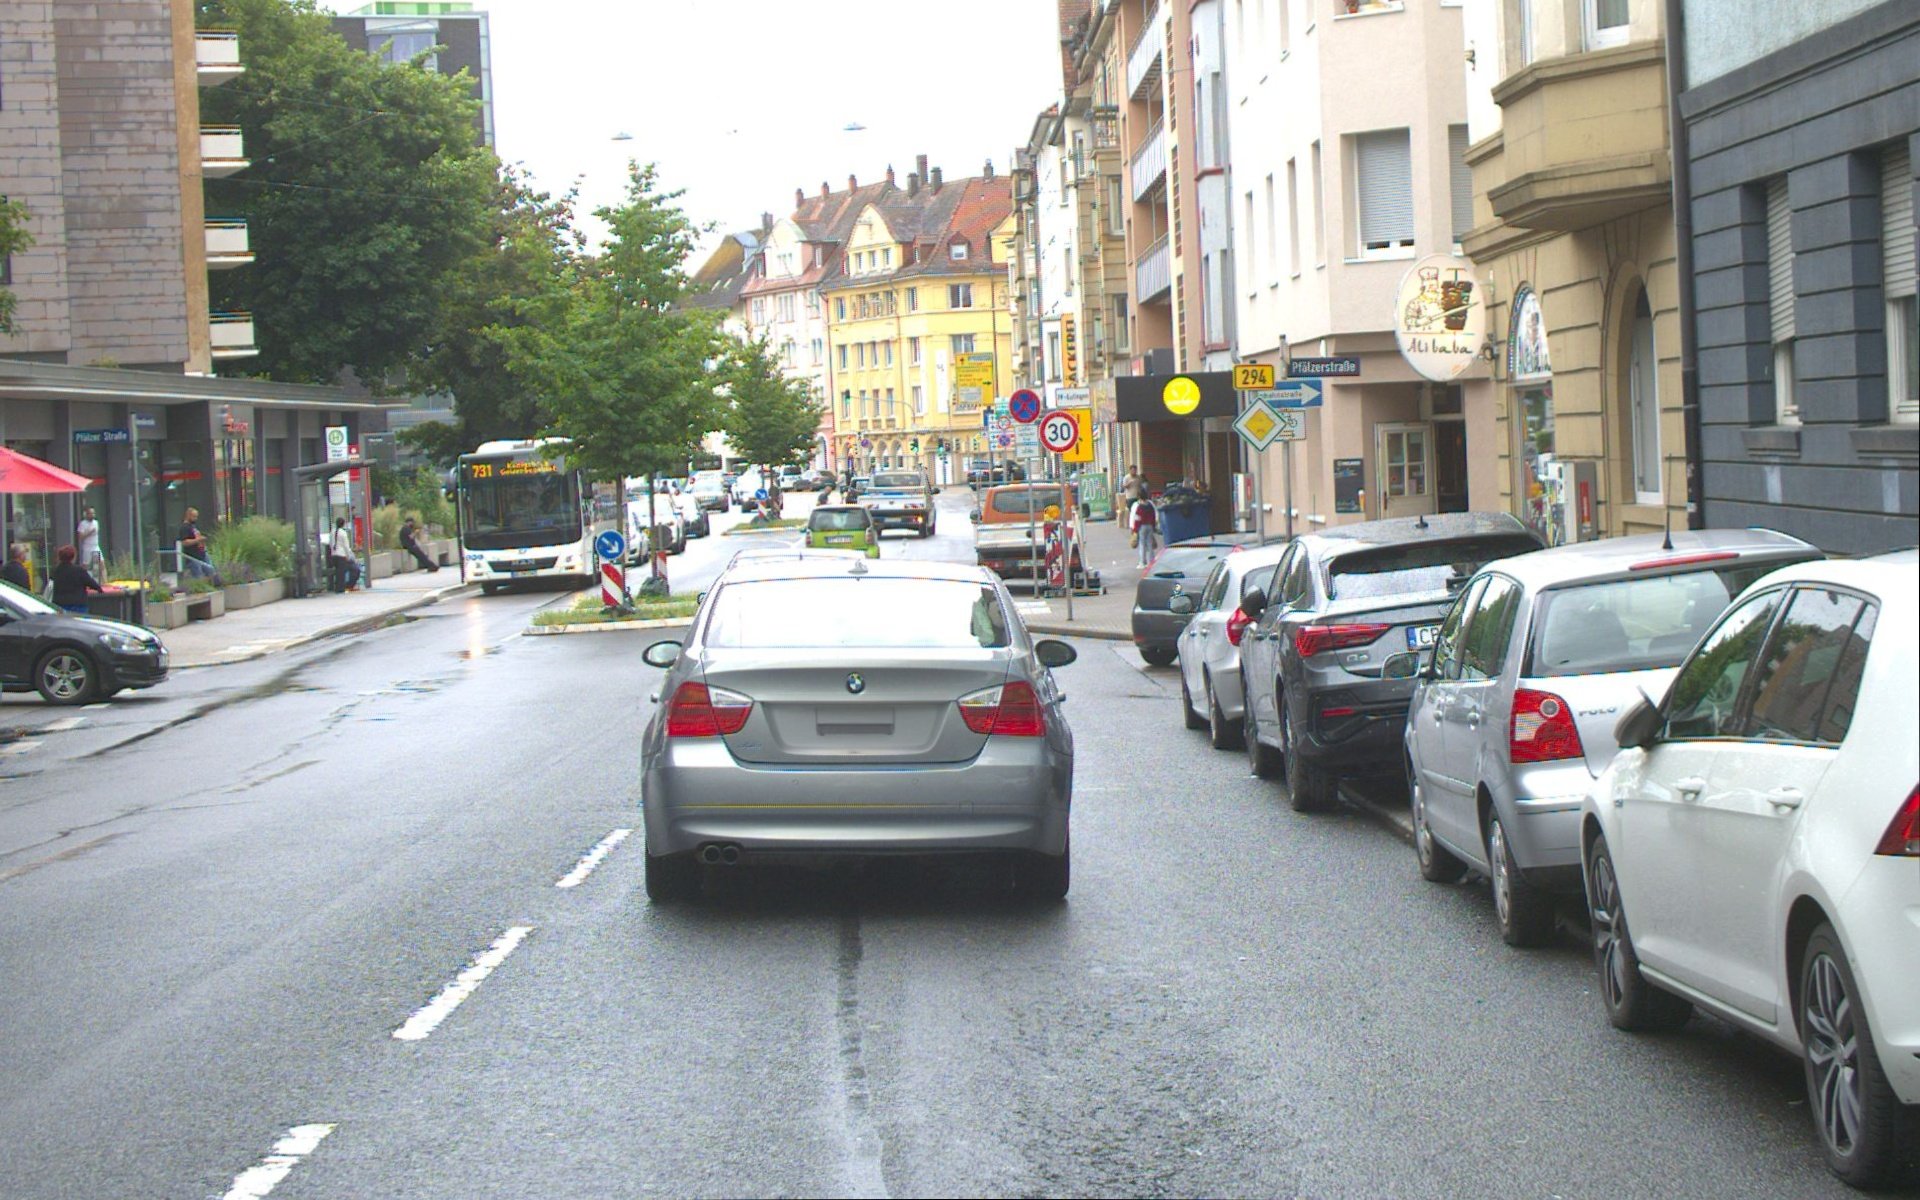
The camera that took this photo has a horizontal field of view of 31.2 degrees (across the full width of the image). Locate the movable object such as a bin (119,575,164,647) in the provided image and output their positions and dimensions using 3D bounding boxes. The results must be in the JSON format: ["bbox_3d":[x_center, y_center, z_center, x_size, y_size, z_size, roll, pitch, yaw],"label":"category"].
[{"bbox_3d":[-12.622,0.161,53.001,0.490,1.077,0.606,-3,0,0],"label":"movable object such as a bin"}]

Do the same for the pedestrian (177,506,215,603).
[{"bbox_3d":[-14.239,-0.845,64.047,0.465,1.783,0.544,0,0,21],"label":"pedestrian"}]

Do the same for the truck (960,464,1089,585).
[{"bbox_3d":[1.233,-1.380,63.528,2.216,2.109,4.652,1,1,3],"label":"truck"}]

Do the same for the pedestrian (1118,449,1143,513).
[{"bbox_3d":[4.467,-3.114,90.159,0.615,1.655,0.754,0,0,6],"label":"pedestrian"}]

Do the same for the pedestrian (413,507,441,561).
[{"bbox_3d":[-13.455,-1.664,86.724,0.619,1.373,0.544,0,0,0],"label":"pedestrian"}]

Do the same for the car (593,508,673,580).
[{"bbox_3d":[-9.229,-1.567,97.192,1.993,2.007,4.000,0,0,-2],"label":"car"}]

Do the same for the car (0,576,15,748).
[{"bbox_3d":[-8.869,0.594,27.748,1.631,1.449,3.840,-2,1,-4],"label":"car"}]

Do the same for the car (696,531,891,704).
[{"bbox_3d":[-1.455,0.134,29.958,1.601,1.415,3.288,0,0,-3],"label":"car"}]

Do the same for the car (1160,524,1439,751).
[{"bbox_3d":[2.462,0.216,25.790,1.569,1.459,4.089,-4,1,0],"label":"car"}]

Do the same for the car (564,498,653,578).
[{"bbox_3d":[-9.105,-1.586,89.309,1.993,2.007,4.000,0,0,-2],"label":"car"}]

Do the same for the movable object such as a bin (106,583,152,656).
[{"bbox_3d":[-12.612,0.297,52.169,0.490,1.077,0.606,-3,0,0],"label":"movable object such as a bin"}]

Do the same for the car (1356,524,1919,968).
[{"bbox_3d":[2.699,0.479,13.999,1.583,1.424,3.595,-5,1,-1],"label":"car"}]

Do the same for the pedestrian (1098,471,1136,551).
[{"bbox_3d":[3.288,-1.855,72.022,0.749,1.655,0.836,0,0,6],"label":"pedestrian"}]

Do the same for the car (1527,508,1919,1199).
[{"bbox_3d":[2.801,0.498,9.202,1.729,1.424,3.974,-5,1,-1],"label":"car"}]

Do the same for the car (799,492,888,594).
[{"bbox_3d":[-2.377,-1.129,69.425,1.705,2.007,4.000,0,0,-3],"label":"car"}]

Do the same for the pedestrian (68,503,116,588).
[{"bbox_3d":[-17.382,-1.091,68.860,0.659,1.700,0.661,0,0,31],"label":"pedestrian"}]

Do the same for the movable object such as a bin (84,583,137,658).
[{"bbox_3d":[-12.648,0.299,51.209,0.554,1.077,0.731,-3,0,0],"label":"movable object such as a bin"}]

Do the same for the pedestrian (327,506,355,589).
[{"bbox_3d":[-12.759,-1.078,70.828,0.542,1.703,0.466,0,0,-7],"label":"pedestrian"}]

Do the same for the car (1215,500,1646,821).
[{"bbox_3d":[2.633,0.274,20.211,1.818,1.552,4.293,-4,1,0],"label":"car"}]

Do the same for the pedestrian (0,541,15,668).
[{"bbox_3d":[-13.612,0.075,47.307,1.062,1.725,0.714,-2,2,-10],"label":"pedestrian"}]

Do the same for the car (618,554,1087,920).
[{"bbox_3d":[-0.430,0.510,14.637,1.756,1.358,3.165,-1,0,-1],"label":"car"}]

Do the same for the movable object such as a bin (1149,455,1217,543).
[{"bbox_3d":[4.575,-2.068,70.585,1.122,1.697,1.434,-4,0,-3],"label":"movable object such as a bin"}]

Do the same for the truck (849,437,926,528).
[{"bbox_3d":[-2.161,-3.432,101.383,2.216,2.535,4.780,0,0,-2],"label":"truck"}]

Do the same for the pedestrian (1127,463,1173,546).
[{"bbox_3d":[3.808,-1.912,69.094,0.750,1.655,0.755,0,0,-12],"label":"pedestrian"}]

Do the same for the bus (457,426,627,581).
[{"bbox_3d":[-9.191,-2.023,76.837,2.681,3.189,11.957,0,0,-2],"label":"bus"}]

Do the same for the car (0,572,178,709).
[{"bbox_3d":[-10.410,0.444,36.473,3.815,1.385,1.743,-1,0,-1],"label":"car"}]

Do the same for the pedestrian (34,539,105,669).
[{"bbox_3d":[-12.129,0.055,46.818,0.739,1.703,0.680,-5,2,-20],"label":"pedestrian"}]

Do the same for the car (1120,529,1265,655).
[{"bbox_3d":[2.600,-0.098,39.069,1.435,1.352,3.762,0,0,1],"label":"car"}]
